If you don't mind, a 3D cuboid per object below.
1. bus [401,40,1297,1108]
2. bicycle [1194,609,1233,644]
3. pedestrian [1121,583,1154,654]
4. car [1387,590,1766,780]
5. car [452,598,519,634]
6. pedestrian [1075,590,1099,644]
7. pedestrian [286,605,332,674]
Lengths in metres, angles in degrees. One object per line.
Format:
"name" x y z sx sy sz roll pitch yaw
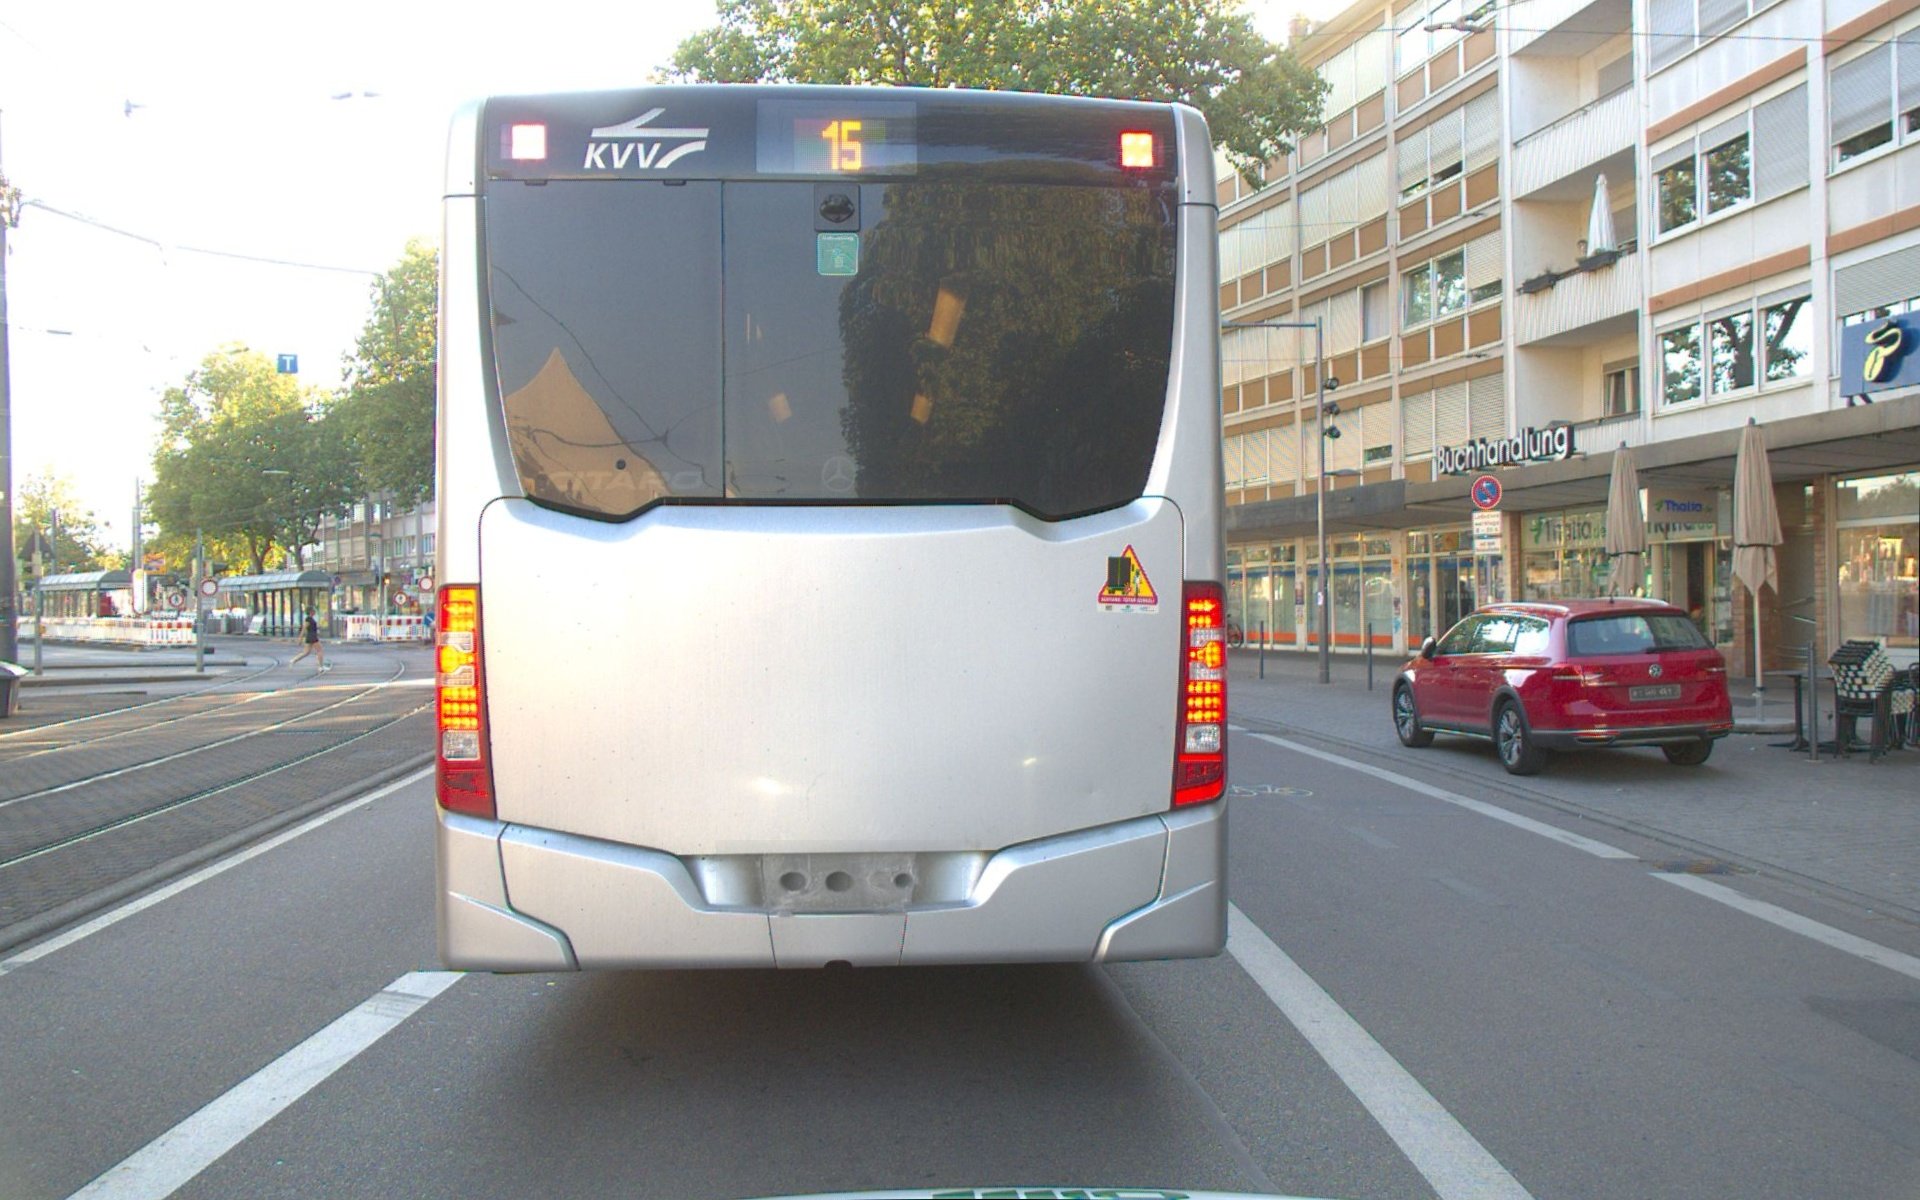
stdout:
"bus" -0.390 -0.058 9.798 2.577 3.081 9.995 0 0 -1
"bicycle" 7.040 0.728 45.997 0.406 0.961 1.431 -1 0 -20
"pedestrian" 4.458 0.463 41.598 0.634 1.747 0.557 -1 0 -17
"car" 5.701 0.710 15.933 1.735 1.508 4.299 -2 0 -4
"car" -25.154 0.837 87.624 1.982 1.823 3.940 1 -1 -41
"pedestrian" 3.969 0.520 51.682 0.527 1.677 0.612 -1 0 -18
"pedestrian" -16.365 0.992 41.589 0.977 1.716 0.642 0 -2 -13
